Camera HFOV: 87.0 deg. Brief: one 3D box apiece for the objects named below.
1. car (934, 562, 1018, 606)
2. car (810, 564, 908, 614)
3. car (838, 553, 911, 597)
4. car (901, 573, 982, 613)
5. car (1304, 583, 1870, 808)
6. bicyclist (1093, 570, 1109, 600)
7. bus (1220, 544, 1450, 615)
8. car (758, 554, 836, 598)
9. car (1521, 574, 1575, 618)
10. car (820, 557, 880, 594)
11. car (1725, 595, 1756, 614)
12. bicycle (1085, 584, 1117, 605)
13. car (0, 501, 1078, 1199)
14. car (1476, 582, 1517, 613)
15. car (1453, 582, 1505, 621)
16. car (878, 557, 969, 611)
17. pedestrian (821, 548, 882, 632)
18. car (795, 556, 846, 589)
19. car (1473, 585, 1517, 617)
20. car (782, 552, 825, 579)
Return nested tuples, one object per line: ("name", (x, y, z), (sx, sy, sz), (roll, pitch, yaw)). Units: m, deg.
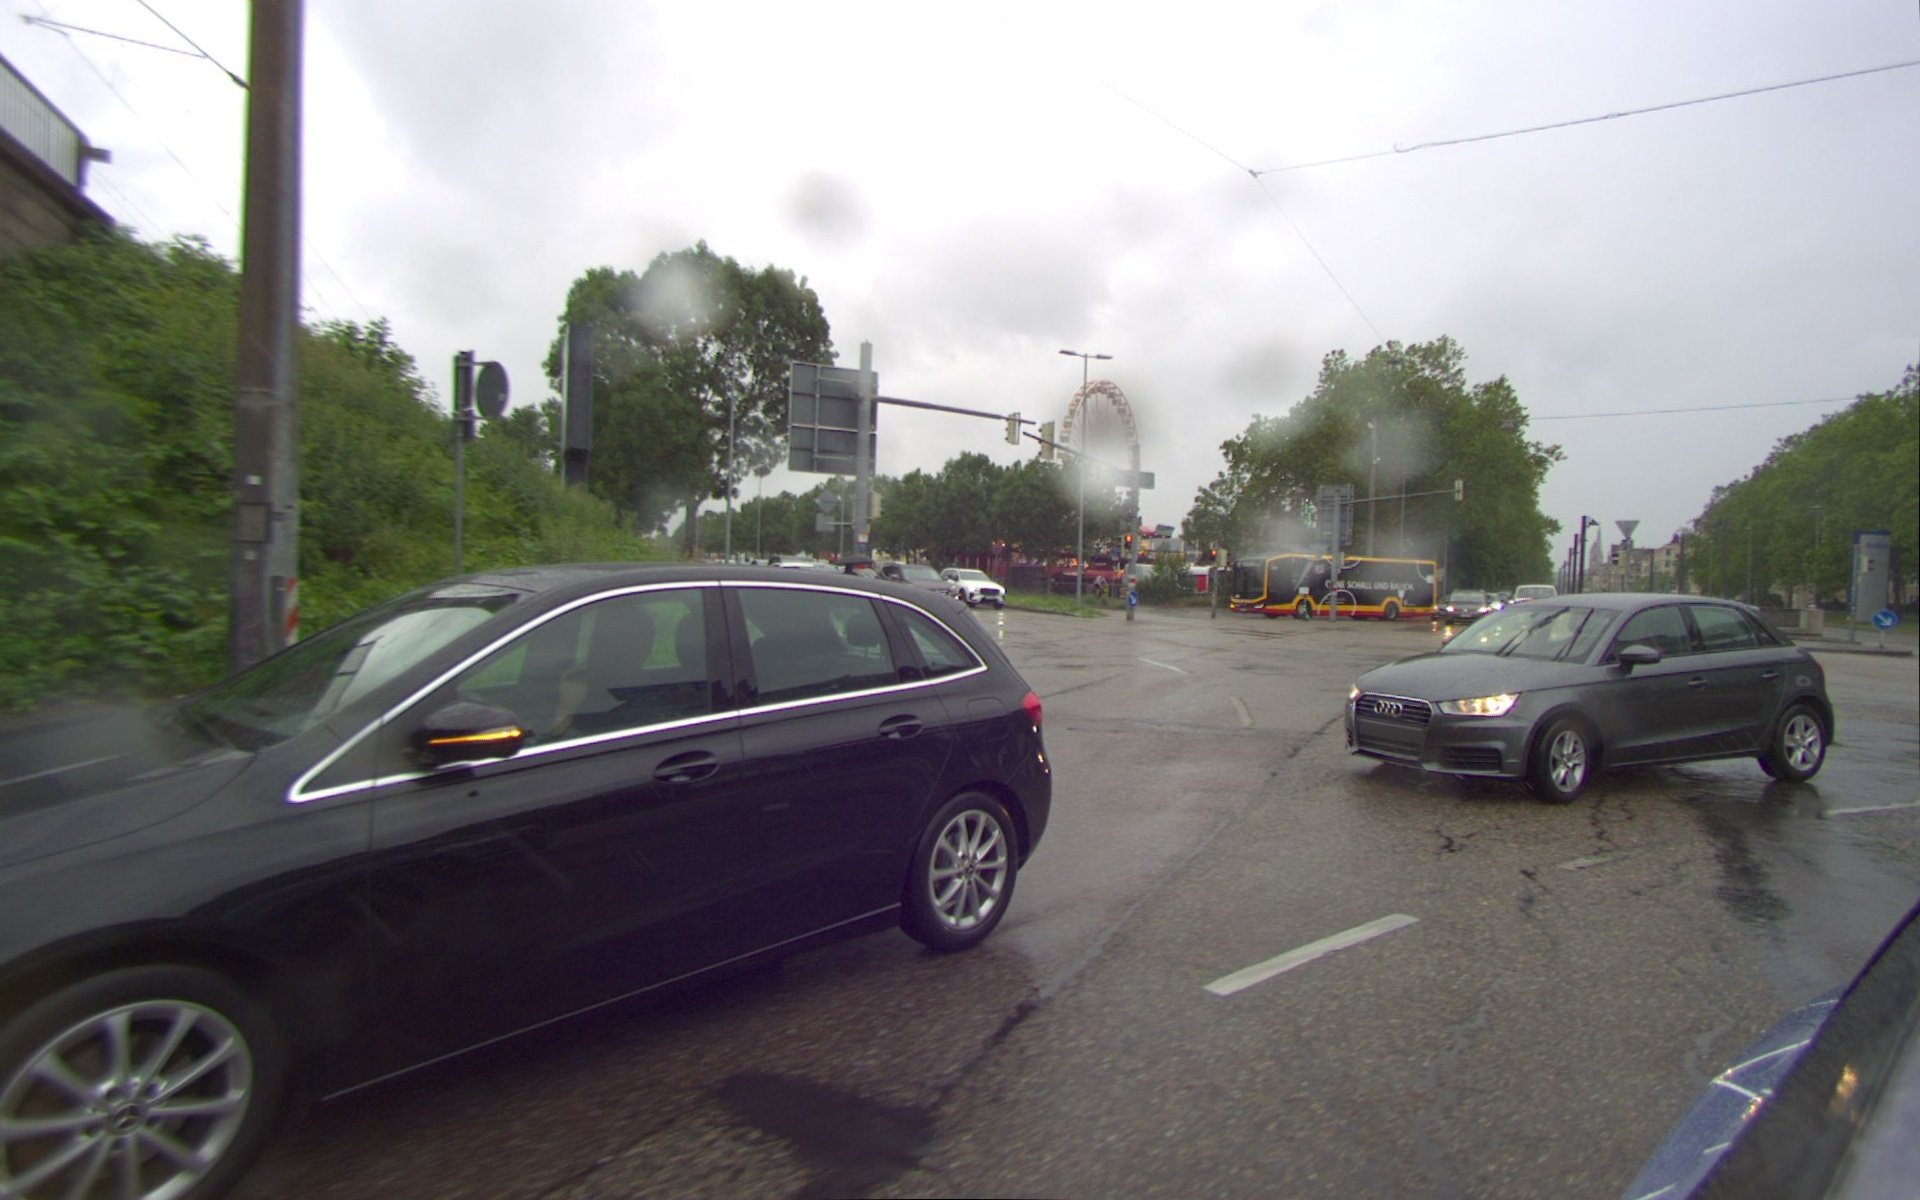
("car", (0.632, -0.747, 44.310), (2.131, 1.741, 4.313), (1, 2, -21))
("car", (-3.287, -0.384, 32.280), (1.859, 1.365, 4.009), (1, 3, -25))
("car", (-3.486, -1.036, 40.757), (1.823, 1.629, 4.010), (1, 2, -21))
("car", (-0.787, -0.313, 40.413), (1.795, 1.374, 4.009), (1, 2, -24))
("car", (4.848, 0.592, 7.968), (3.674, 1.415, 1.846), (-1, 1, -18))
("bicyclist", (8.928, -0.969, 64.250), (0.754, 1.905, 0.623), (0, 2, -26))
("bus", (19.500, -1.017, 52.352), (12.032, 3.308, 3.282), (1, 2, -23))
("car", (-6.150, -0.920, 37.815), (1.795, 1.501, 4.008), (1, 2, -26))
("car", (27.701, -0.230, 47.734), (2.061, 1.871, 4.696), (3, 2, 30))
("car", (-5.646, -1.267, 51.620), (1.832, 1.741, 4.009), (1, 2, -24))
("car", (72.334, 0.369, 93.830), (1.829, 1.571, 3.954), (3, 2, 33))
("bicycle", (8.928, -0.363, 64.237), (0.805, 1.179, 2.264), (1, 2, -26))
("car", (-1.553, 0.533, 3.601), (1.871, 1.542, 4.023), (4, 3, 43))
("car", (36.357, -0.208, 68.689), (2.056, 1.871, 4.708), (3, 2, 24))
("car", (24.490, 0.010, 47.683), (1.918, 1.671, 4.297), (3, 2, 30))
("car", (-1.337, -0.607, 35.162), (1.986, 1.677, 4.072), (1, 2, -20))
("pedestrian", (-2.295, -0.215, 21.416), (0.985, 1.740, 0.821), (1, 2, -31))
("car", (-7.950, -1.577, 57.526), (1.812, 1.741, 4.009), (1, 2, -23))
("car", (32.517, 0.004, 61.629), (1.869, 1.776, 3.972), (2, 2, 22))
("car", (-11.280, -2.499, 72.887), (1.904, 1.741, 4.008), (1, 2, -26))
